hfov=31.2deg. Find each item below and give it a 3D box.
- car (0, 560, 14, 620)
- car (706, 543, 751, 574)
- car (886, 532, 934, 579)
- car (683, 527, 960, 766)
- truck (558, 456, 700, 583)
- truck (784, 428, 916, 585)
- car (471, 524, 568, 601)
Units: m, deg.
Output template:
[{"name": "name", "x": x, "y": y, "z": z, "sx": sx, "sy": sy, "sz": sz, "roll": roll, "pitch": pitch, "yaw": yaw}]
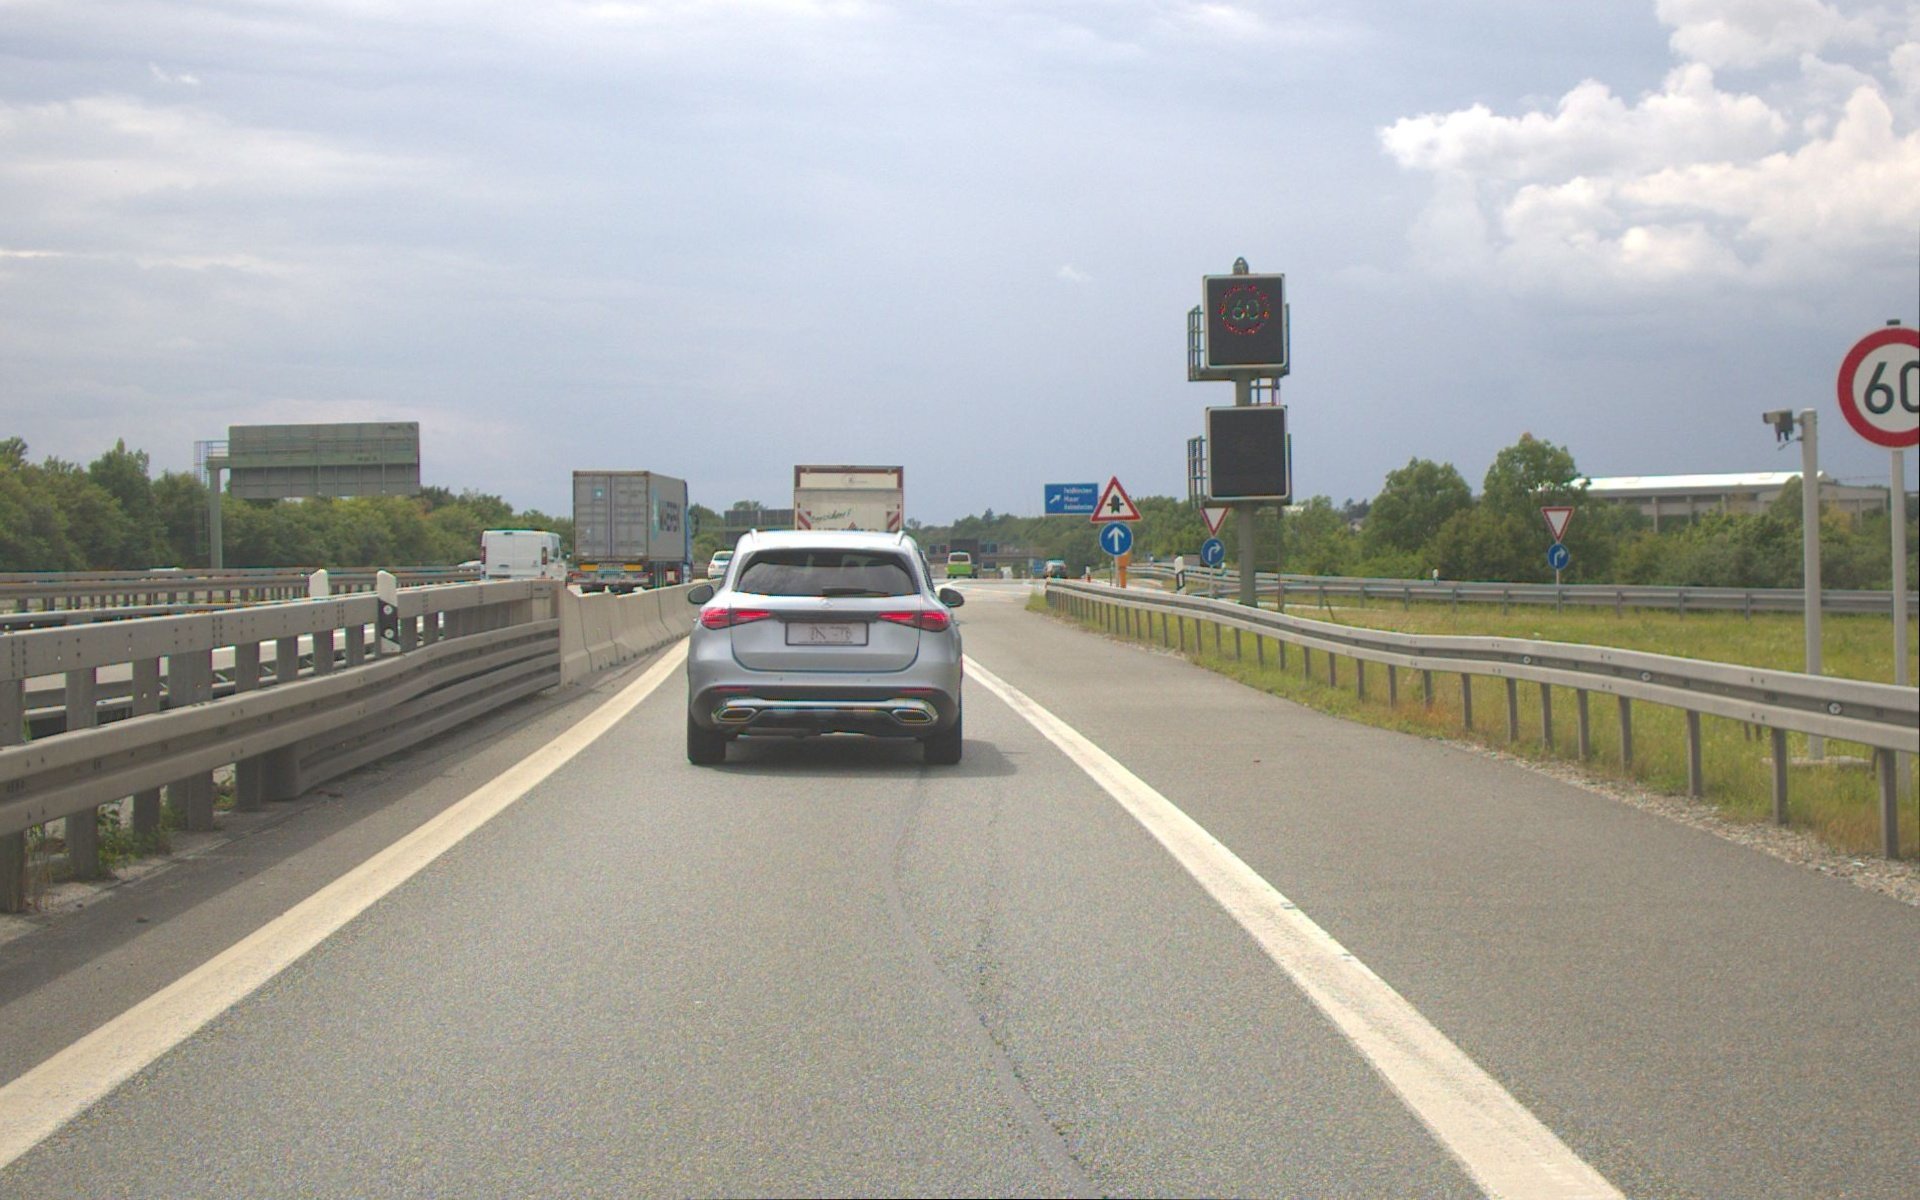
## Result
[{"name": "car", "x": -27.053, "y": -0.232, "z": 92.717, "sx": 1.744, "sy": 1.617, "sz": 4.517, "roll": 0, "pitch": 2, "yaw": 1}, {"name": "car", "x": -10.557, "y": -1.909, "z": 157.203, "sx": 1.696, "sy": 1.283, "sz": 4.000, "roll": 1, "pitch": 2, "yaw": 1}, {"name": "car", "x": -2.255, "y": -2.023, "z": 156.372, "sx": 1.993, "sy": 2.006, "sz": 4.374, "roll": 1, "pitch": 2, "yaw": 1}, {"name": "car", "x": -0.941, "y": 0.264, "z": 24.745, "sx": 1.819, "sy": 1.509, "sz": 4.001, "roll": 0, "pitch": 2, "yaw": -1}, {"name": "truck", "x": -11.121, "y": -2.840, "z": 117.249, "sx": 3.183, "sy": 4.005, "sz": 16.076, "roll": 0, "pitch": 2, "yaw": 0}, {"name": "truck", "x": -2.249, "y": -1.930, "z": 73.026, "sx": 2.569, "sy": 3.115, "sz": 8.635, "roll": 0, "pitch": 1, "yaw": 0}, {"name": "car", "x": -12.097, "y": -1.063, "z": 94.681, "sx": 1.993, "sy": 2.006, "sz": 4.374, "roll": 1, "pitch": 2, "yaw": 1}]
